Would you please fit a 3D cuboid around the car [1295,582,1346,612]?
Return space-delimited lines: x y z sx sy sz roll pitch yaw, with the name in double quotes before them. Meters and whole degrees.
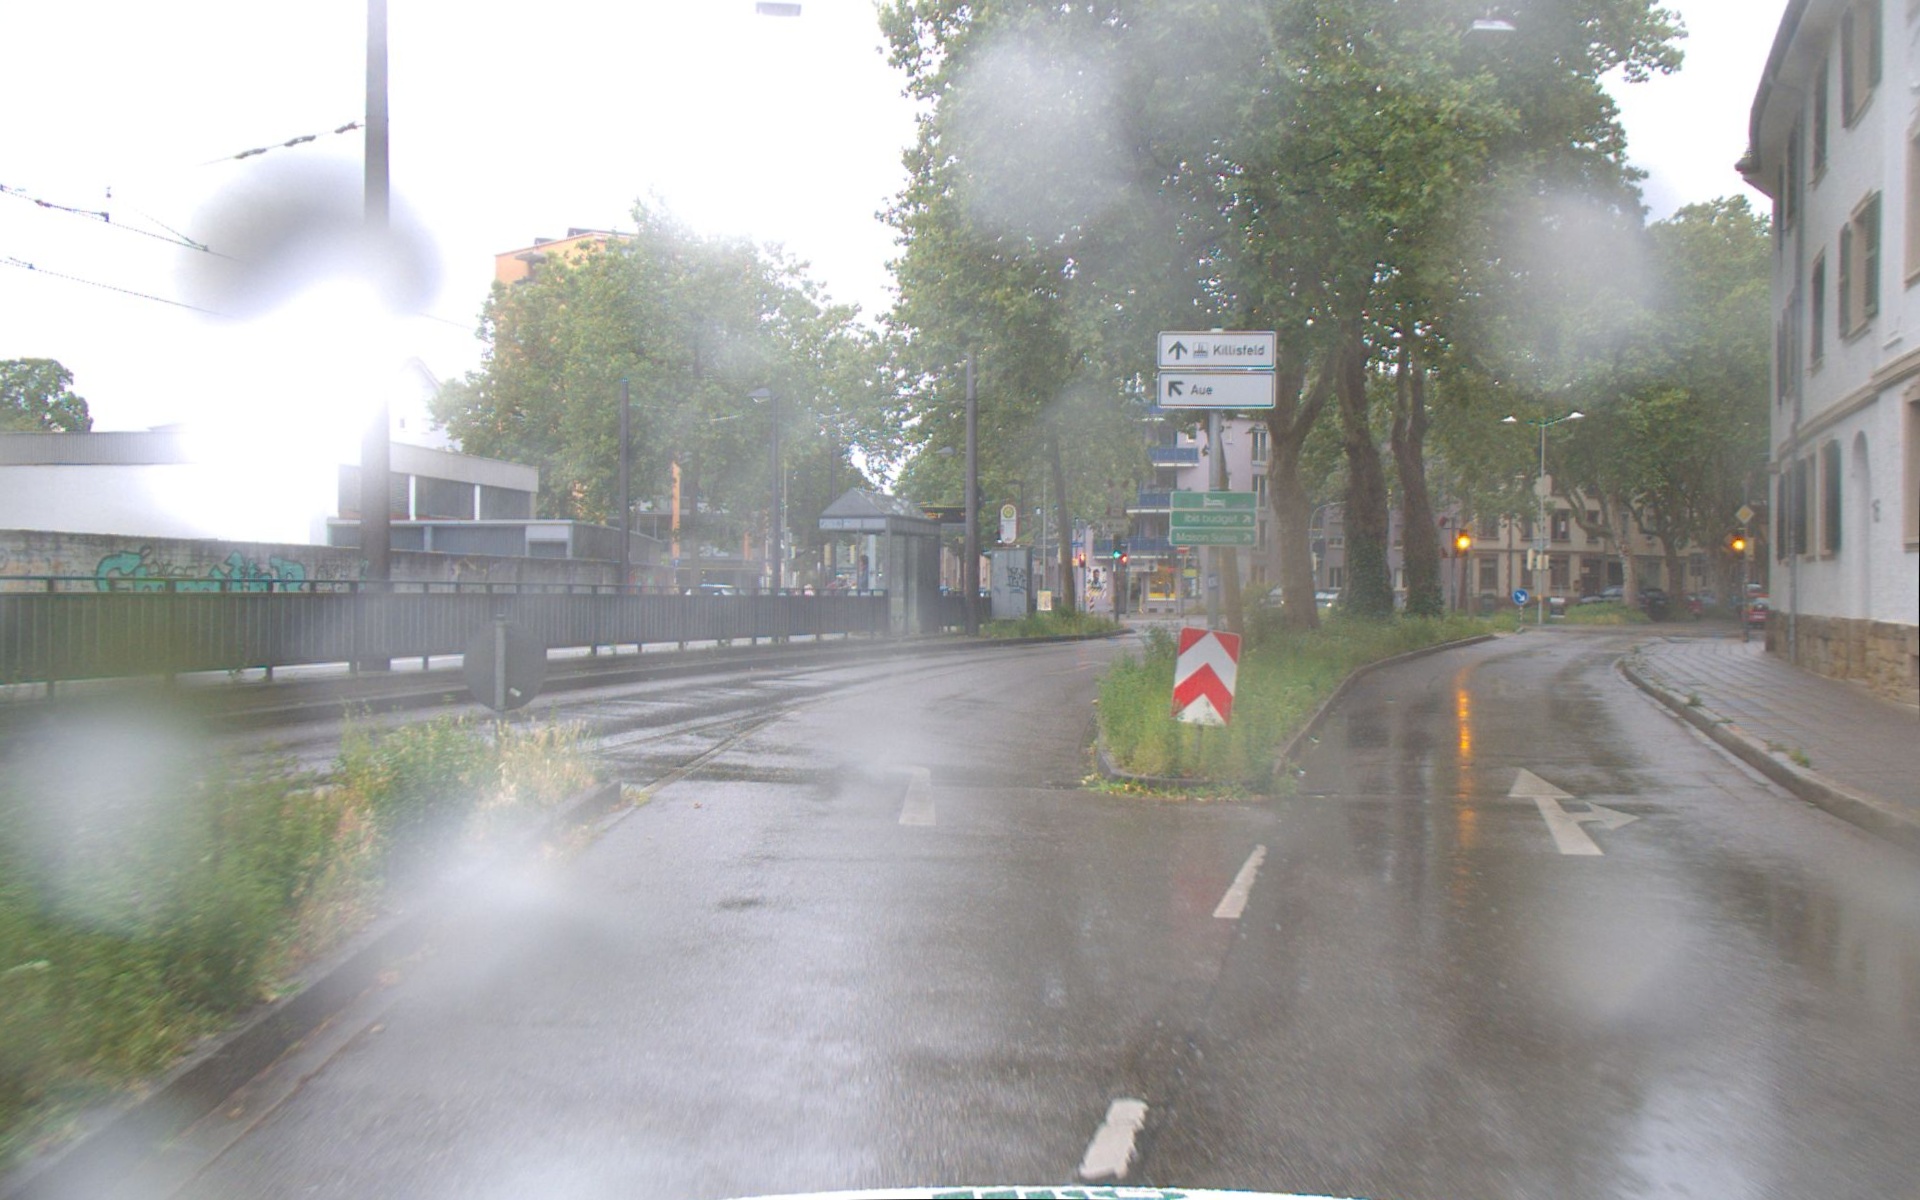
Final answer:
"car" 19.696 -0.170 90.251 1.693 1.579 3.553 -2 0 30

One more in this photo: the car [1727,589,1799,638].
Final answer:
"car" 35.668 0.568 73.421 1.963 2.049 3.979 -2 0 40

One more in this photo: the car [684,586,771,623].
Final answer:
"car" -11.272 0.216 80.113 3.940 1.680 1.965 -2 0 37

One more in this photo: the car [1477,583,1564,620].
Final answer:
"car" 25.162 0.056 74.280 3.417 1.550 1.515 -2 0 34

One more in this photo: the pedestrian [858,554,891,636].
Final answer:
"pedestrian" -1.862 -0.113 35.940 0.572 1.761 0.565 -1 0 -18
